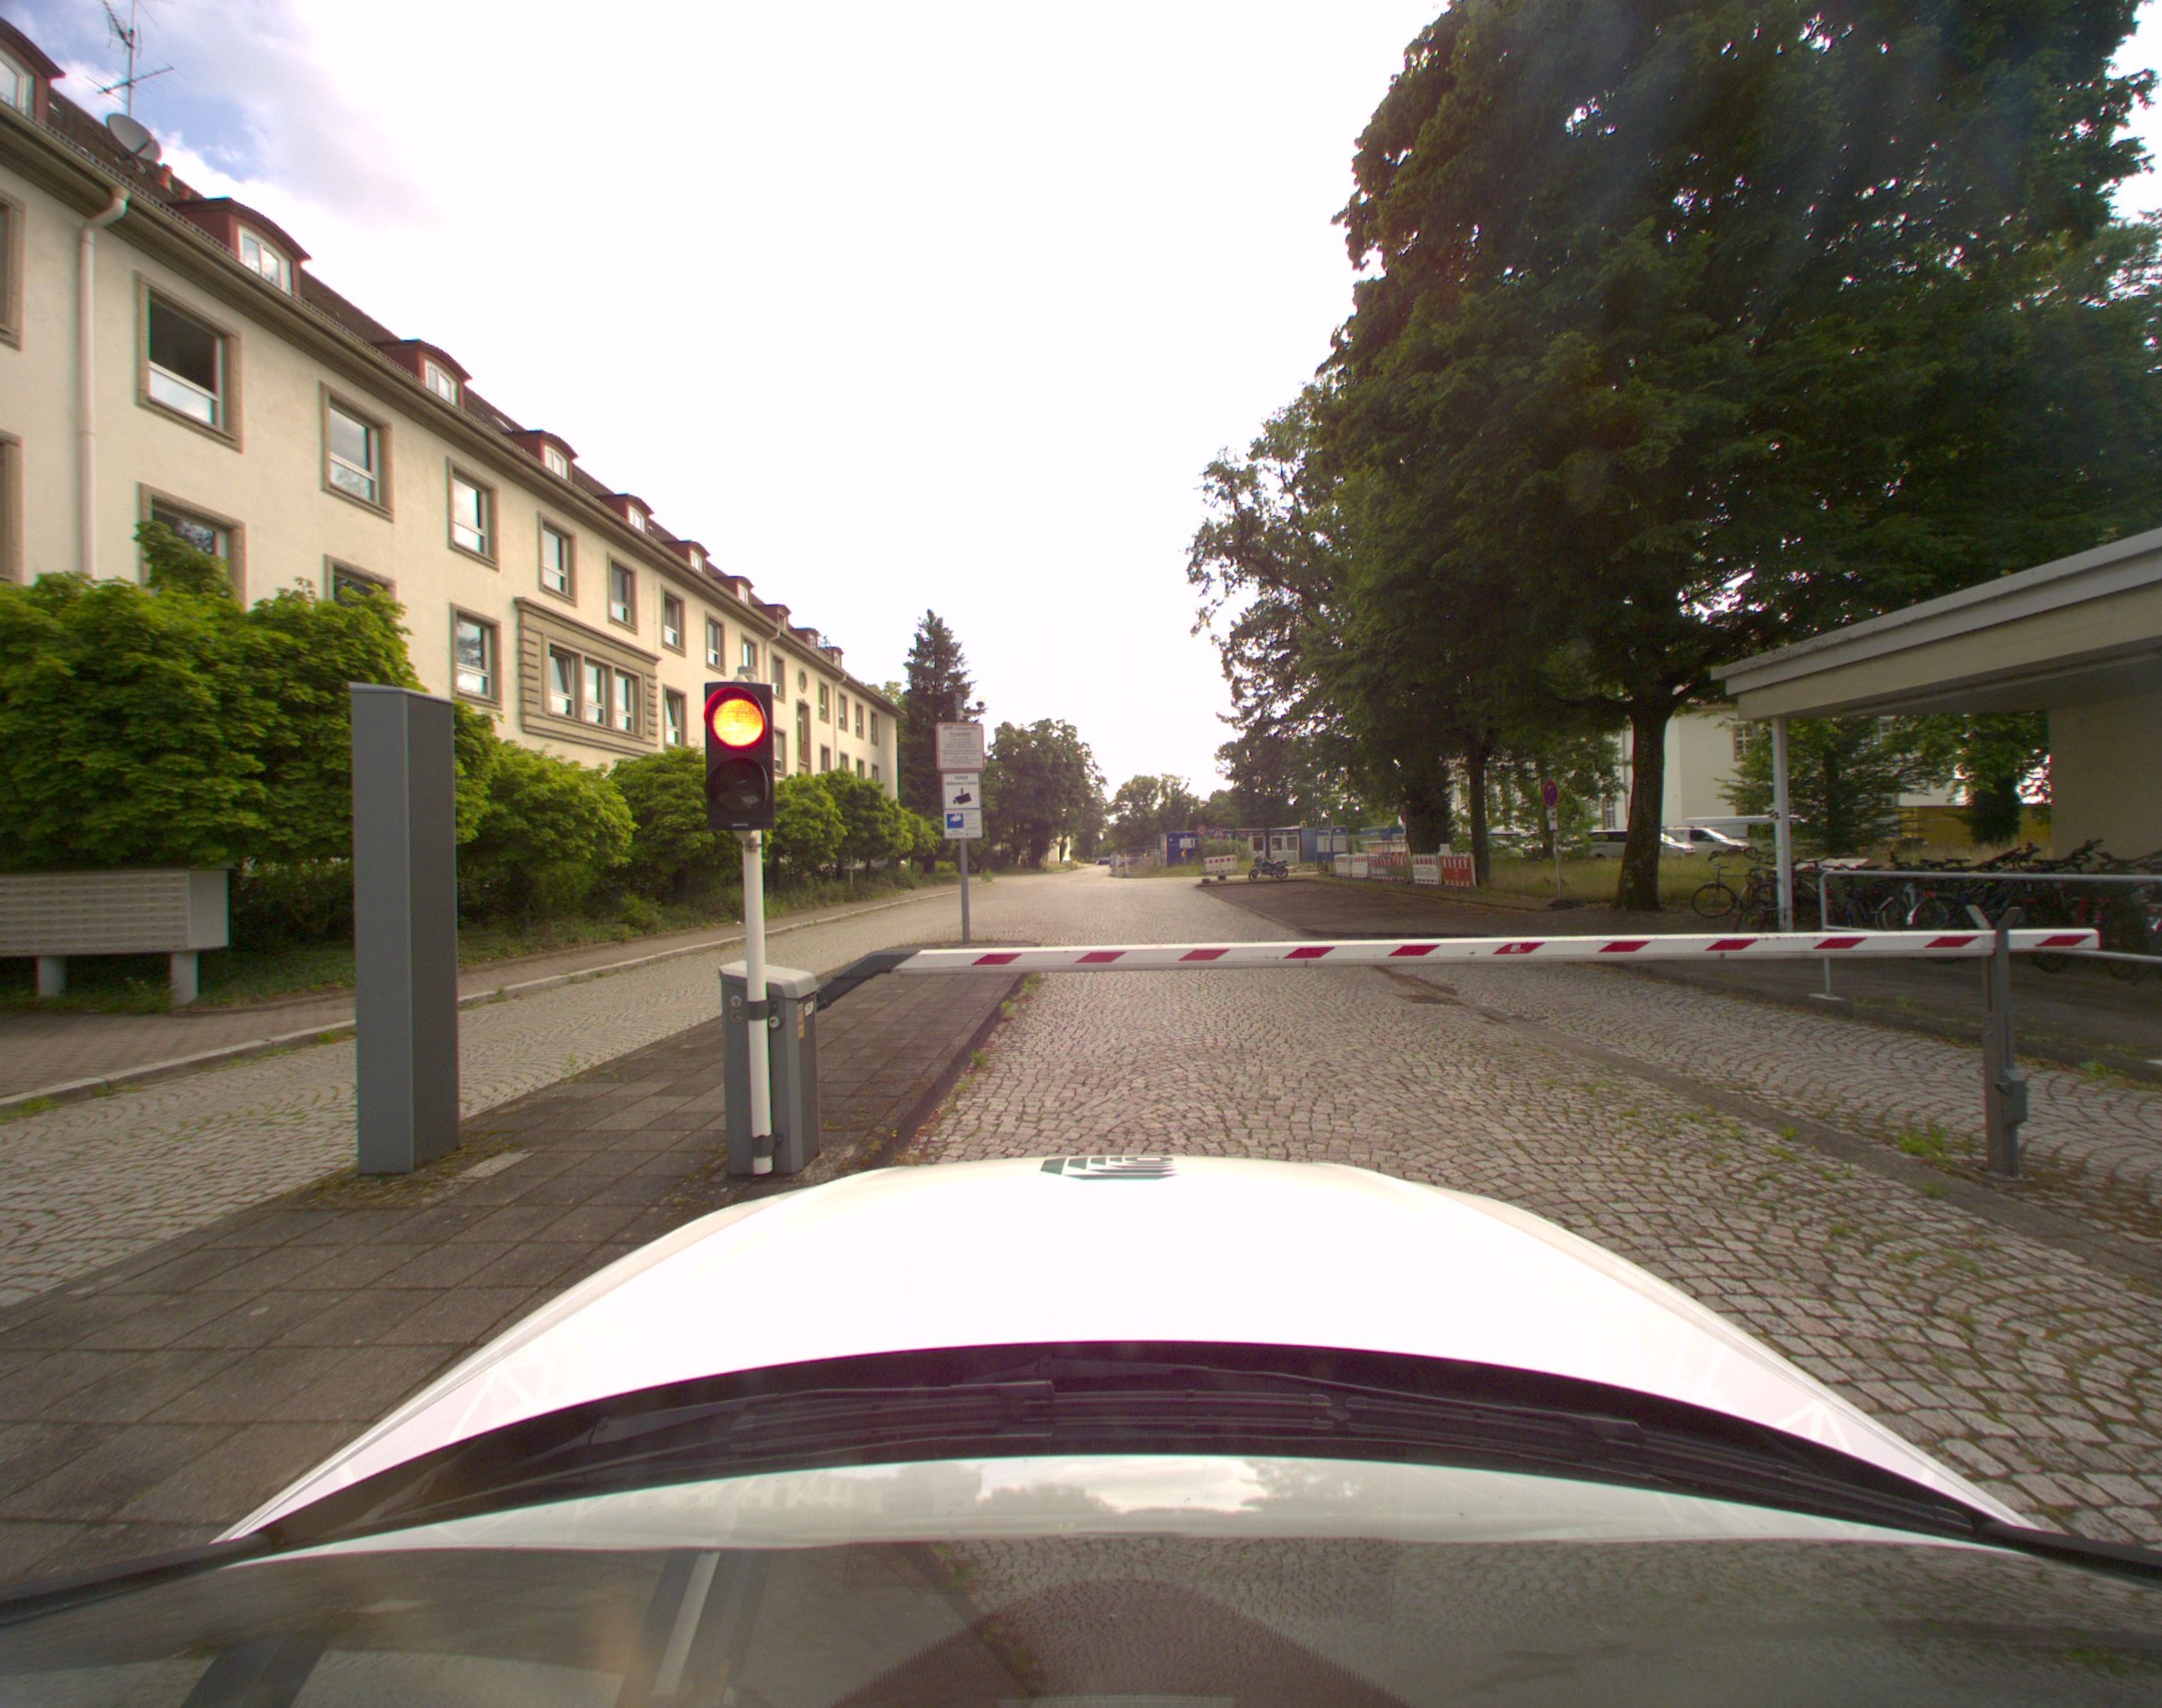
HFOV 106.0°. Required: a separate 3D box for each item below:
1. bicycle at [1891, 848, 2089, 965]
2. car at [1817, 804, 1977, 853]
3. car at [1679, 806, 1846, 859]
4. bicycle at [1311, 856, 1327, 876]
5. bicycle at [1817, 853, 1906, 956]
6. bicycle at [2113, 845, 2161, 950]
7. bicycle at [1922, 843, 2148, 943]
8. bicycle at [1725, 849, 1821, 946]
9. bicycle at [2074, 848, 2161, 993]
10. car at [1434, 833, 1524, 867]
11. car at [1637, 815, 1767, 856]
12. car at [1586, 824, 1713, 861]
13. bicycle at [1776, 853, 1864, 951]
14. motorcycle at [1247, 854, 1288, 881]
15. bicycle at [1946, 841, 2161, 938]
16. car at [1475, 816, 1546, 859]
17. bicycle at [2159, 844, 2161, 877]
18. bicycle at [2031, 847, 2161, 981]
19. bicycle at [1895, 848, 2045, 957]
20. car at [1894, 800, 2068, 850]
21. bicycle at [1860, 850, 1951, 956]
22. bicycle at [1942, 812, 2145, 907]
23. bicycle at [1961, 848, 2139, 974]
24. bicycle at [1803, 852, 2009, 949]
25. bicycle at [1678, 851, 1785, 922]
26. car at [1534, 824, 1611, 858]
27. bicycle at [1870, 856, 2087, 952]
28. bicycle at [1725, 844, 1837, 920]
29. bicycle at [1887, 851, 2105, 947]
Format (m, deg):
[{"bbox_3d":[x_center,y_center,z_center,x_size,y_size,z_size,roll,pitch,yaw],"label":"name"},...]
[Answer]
[{"bbox_3d":[9.917,0.564,8.895,1.797,1.171,0.358,-2,-3,-4],"label":"bicycle"},{"bbox_3d":[40.374,-1.194,40.593,2.431,1.957,5.697,-2,-2,4],"label":"car"},{"bbox_3d":[34.222,-1.000,41.171,2.005,2.308,6.142,-1,-1,-29],"label":"car"},{"bbox_3d":[12.390,0.629,42.455,0.330,1.008,1.726,-2,-2,2],"label":"bicycle"},{"bbox_3d":[9.529,0.593,9.935,1.387,1.171,0.355,-1,-3,-30],"label":"bicycle"},{"bbox_3d":[11.805,0.471,8.147,0.371,1.119,1.893,-2,1,-8],"label":"bicycle"},{"bbox_3d":[11.786,0.457,10.169,0.371,1.119,1.893,-2,-1,-8],"label":"bicycle"},{"bbox_3d":[9.145,0.560,10.753,1.386,1.171,0.429,-2,-2,-29],"label":"bicycle"},{"bbox_3d":[9.605,0.524,6.943,1.800,1.171,0.581,-2,-3,-10],"label":"bicycle"},{"bbox_3d":[22.826,-0.194,46.858,4.201,1.820,2.002,-2,-1,4],"label":"car"},{"bbox_3d":[31.167,-0.897,41.080,2.004,1.789,4.799,-1,-1,-26],"label":"car"},{"bbox_3d":[28.383,-0.538,40.844,2.004,1.650,4.799,-1,-1,-26],"label":"car"},{"bbox_3d":[9.359,0.584,10.302,1.387,1.171,0.355,-1,-3,-30],"label":"bicycle"},{"bbox_3d":[9.382,0.688,40.972,1.950,1.194,0.461,-3,4,0],"label":"motorcycle"},{"bbox_3d":[12.171,0.435,10.220,0.371,1.083,1.892,-2,-2,-8],"label":"bicycle"},{"bbox_3d":[26.760,-0.974,50.925,1.984,2.424,5.364,-2,-1,6],"label":"car"},{"bbox_3d":[12.342,0.409,8.141,0.371,1.119,1.892,-2,-2,-8],"label":"bicycle"},{"bbox_3d":[9.999,0.535,7.784,1.805,1.171,0.494,-1,-3,-19],"label":"bicycle"},{"bbox_3d":[10.156,0.543,9.310,1.377,1.171,0.358,-2,-3,-7],"label":"bicycle"},{"bbox_3d":[44.218,-1.358,40.305,2.431,1.957,5.697,-2,-2,4],"label":"car"},{"bbox_3d":[9.724,0.550,9.592,1.387,1.171,0.355,-1,-3,-30],"label":"bicycle"},{"bbox_3d":[12.621,0.093,10.778,0.370,1.128,1.898,-2,-2,0],"label":"bicycle"},{"bbox_3d":[9.884,0.552,8.305,1.749,1.171,0.494,-1,-3,-19],"label":"bicycle"},{"bbox_3d":[10.452,0.559,10.409,0.446,1.119,1.785,-1,0,-23],"label":"bicycle"},{"bbox_3d":[11.068,0.524,13.919,0.503,1.086,1.584,-2,1,-2],"label":"bicycle"},{"bbox_3d":[30.776,-0.766,51.216,1.986,2.013,4.842,-2,0,2],"label":"car"},{"bbox_3d":[11.051,0.569,10.141,0.371,1.067,1.907,-2,0,-8],"label":"bicycle"},{"bbox_3d":[11.671,0.471,13.640,0.502,1.171,1.555,-2,-2,2],"label":"bicycle"},{"bbox_3d":[11.398,0.547,10.257,0.371,1.081,1.892,-2,-2,-8],"label":"bicycle"}]
